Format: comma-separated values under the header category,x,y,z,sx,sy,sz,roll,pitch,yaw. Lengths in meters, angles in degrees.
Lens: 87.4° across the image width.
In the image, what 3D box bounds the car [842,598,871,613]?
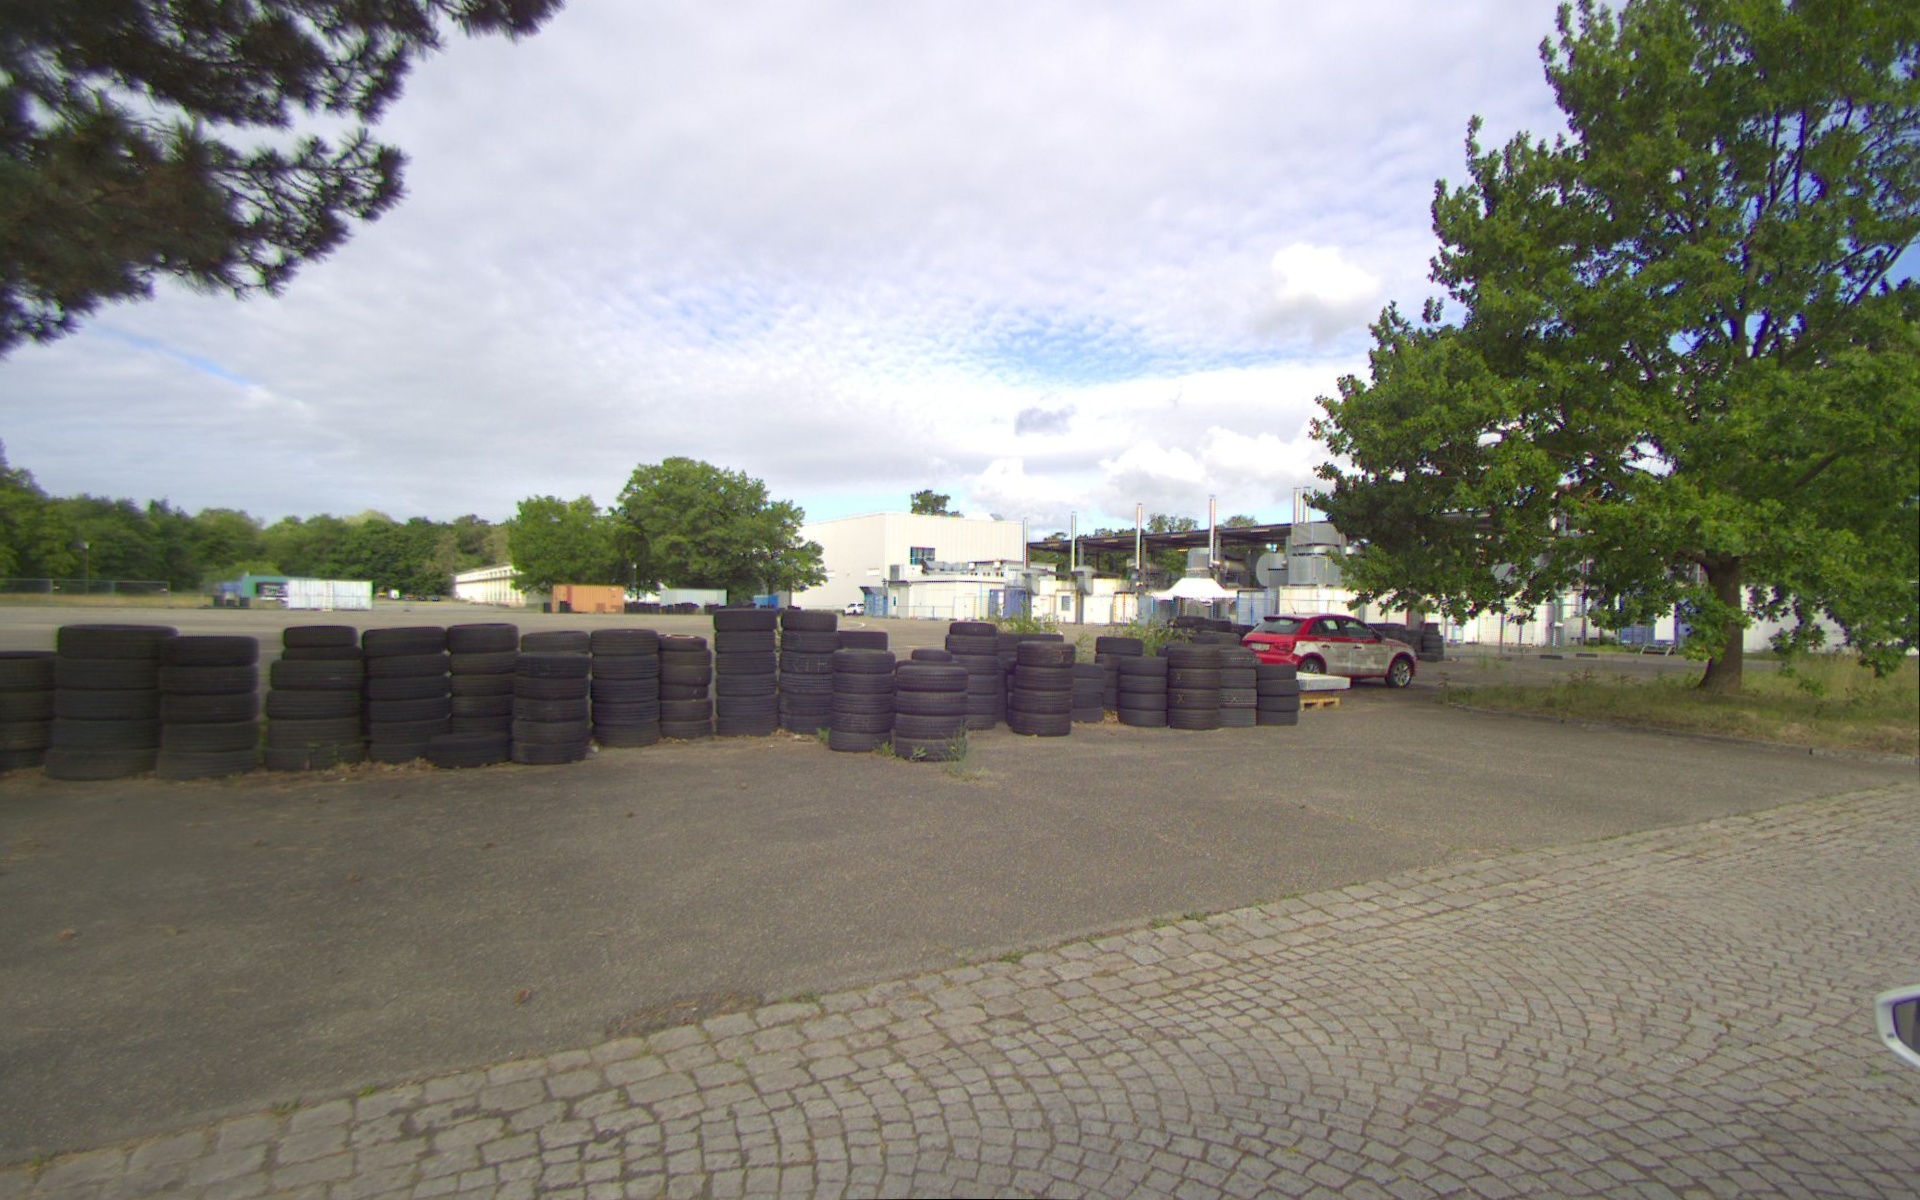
category,x,y,z,sx,sy,sz,roll,pitch,yaw
car,-11.798,0.626,114.340,1.809,1.655,4.085,1,0,-30

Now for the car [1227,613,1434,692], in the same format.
category,x,y,z,sx,sy,sz,roll,pitch,yaw
car,7.519,1.014,20.339,4.010,1.452,1.620,1,0,-26

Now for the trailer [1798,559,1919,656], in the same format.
category,x,y,z,sx,sy,sz,roll,pitch,yaw
trailer,38.499,0.379,41.472,10.055,3.646,2.613,1,0,-30
